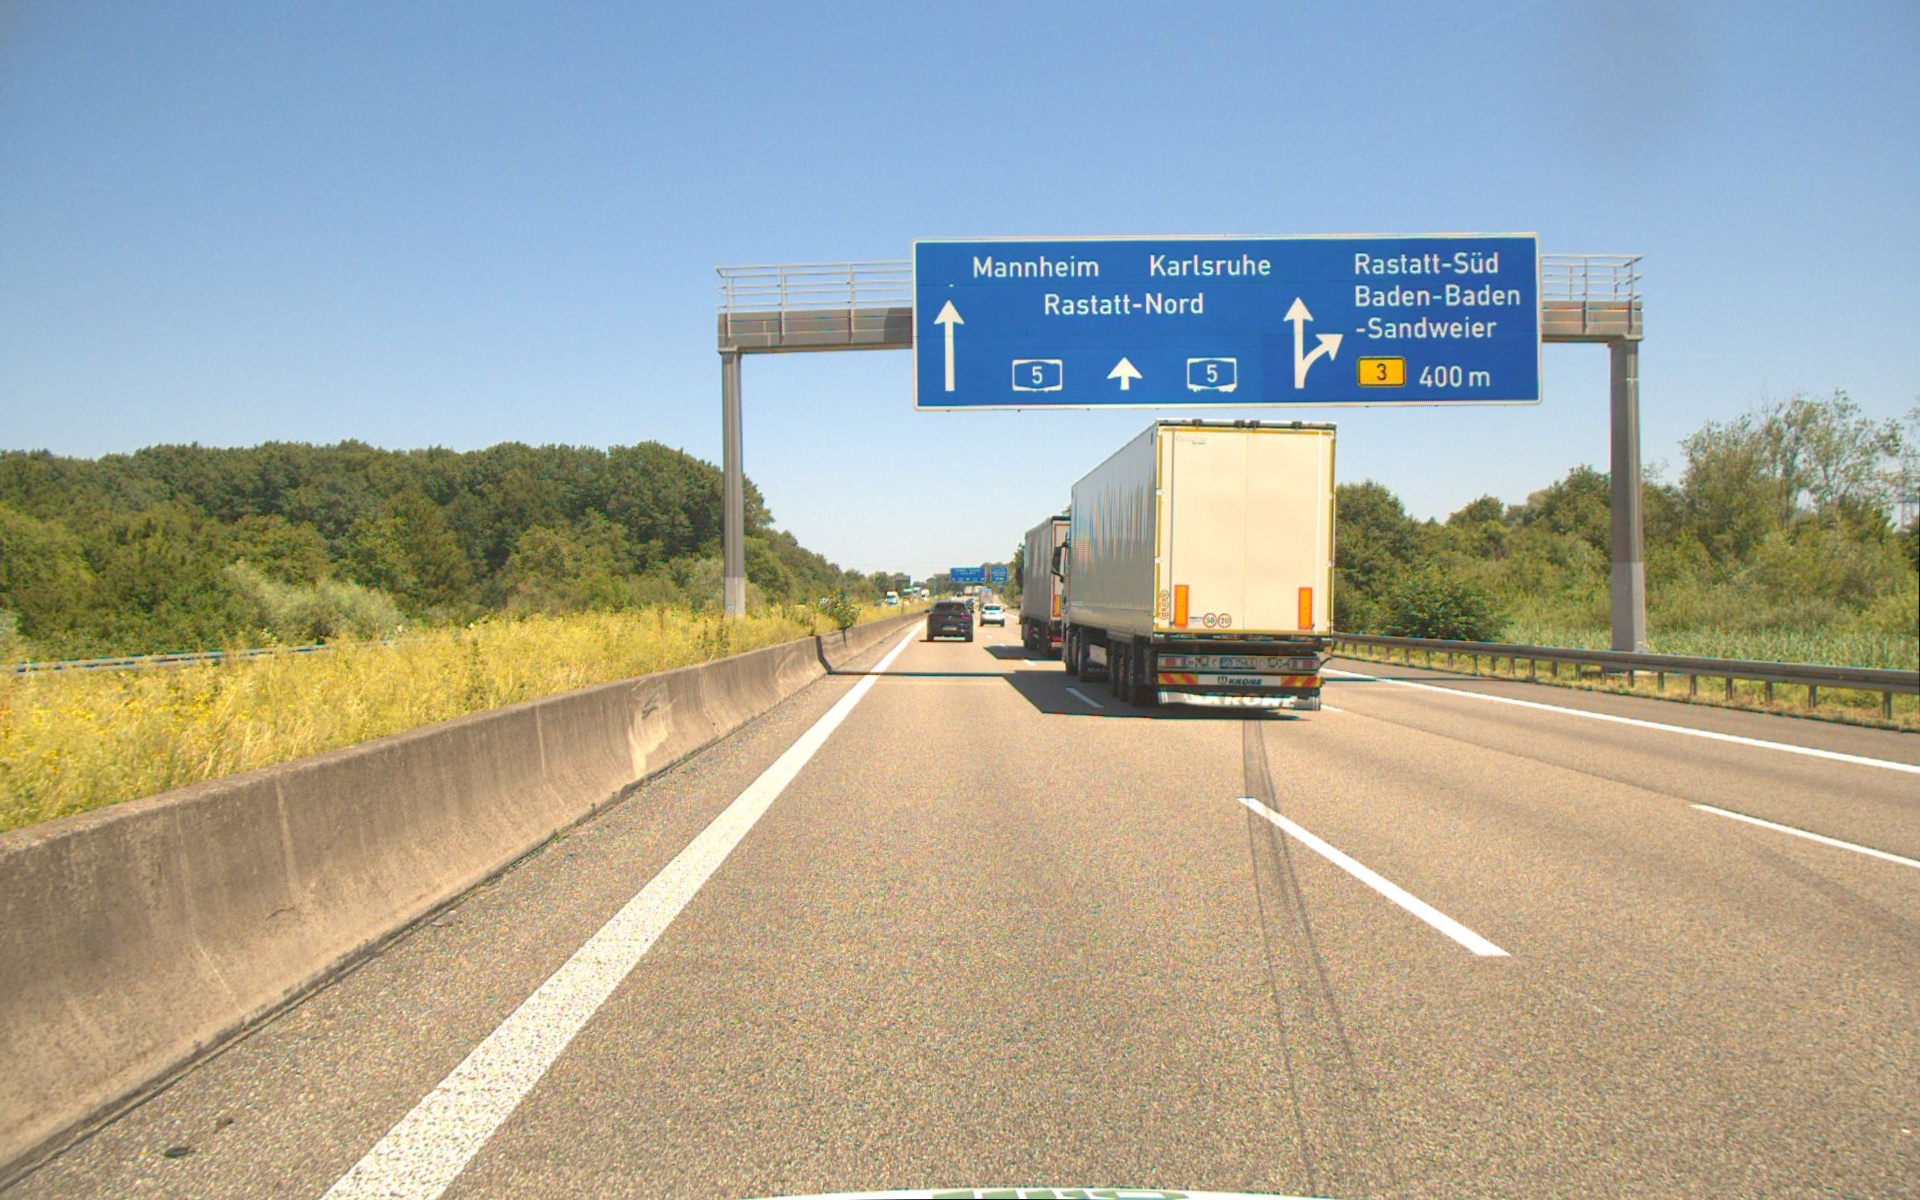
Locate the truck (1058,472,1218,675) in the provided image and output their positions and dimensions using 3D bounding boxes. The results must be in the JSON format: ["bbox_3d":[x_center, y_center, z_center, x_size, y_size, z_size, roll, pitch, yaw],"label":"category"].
[{"bbox_3d":[3.763,-0.541,36.277,2.743,4.077,6.019,0,0,-1],"label":"truck"}]

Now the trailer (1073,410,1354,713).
[{"bbox_3d":[3.889,-0.535,28.793,2.738,4.106,12.565,0,0,-1],"label":"trailer"}]

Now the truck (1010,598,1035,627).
[{"bbox_3d":[5.440,1.067,144.180,1.953,2.415,4.644,0,1,-1],"label":"truck"}]

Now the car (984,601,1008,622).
[{"bbox_3d":[2.661,0.842,122.815,1.704,1.512,4.000,0,0,0],"label":"car"}]

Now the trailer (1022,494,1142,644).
[{"bbox_3d":[3.667,-0.811,53.267,2.652,4.139,14.743,0,0,0],"label":"trailer"}]

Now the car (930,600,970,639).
[{"bbox_3d":[-0.436,0.821,70.246,1.626,1.576,3.782,0,0,-2],"label":"car"}]

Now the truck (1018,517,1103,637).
[{"bbox_3d":[3.600,-0.777,60.640,2.645,4.165,6.452,0,0,0],"label":"truck"}]
